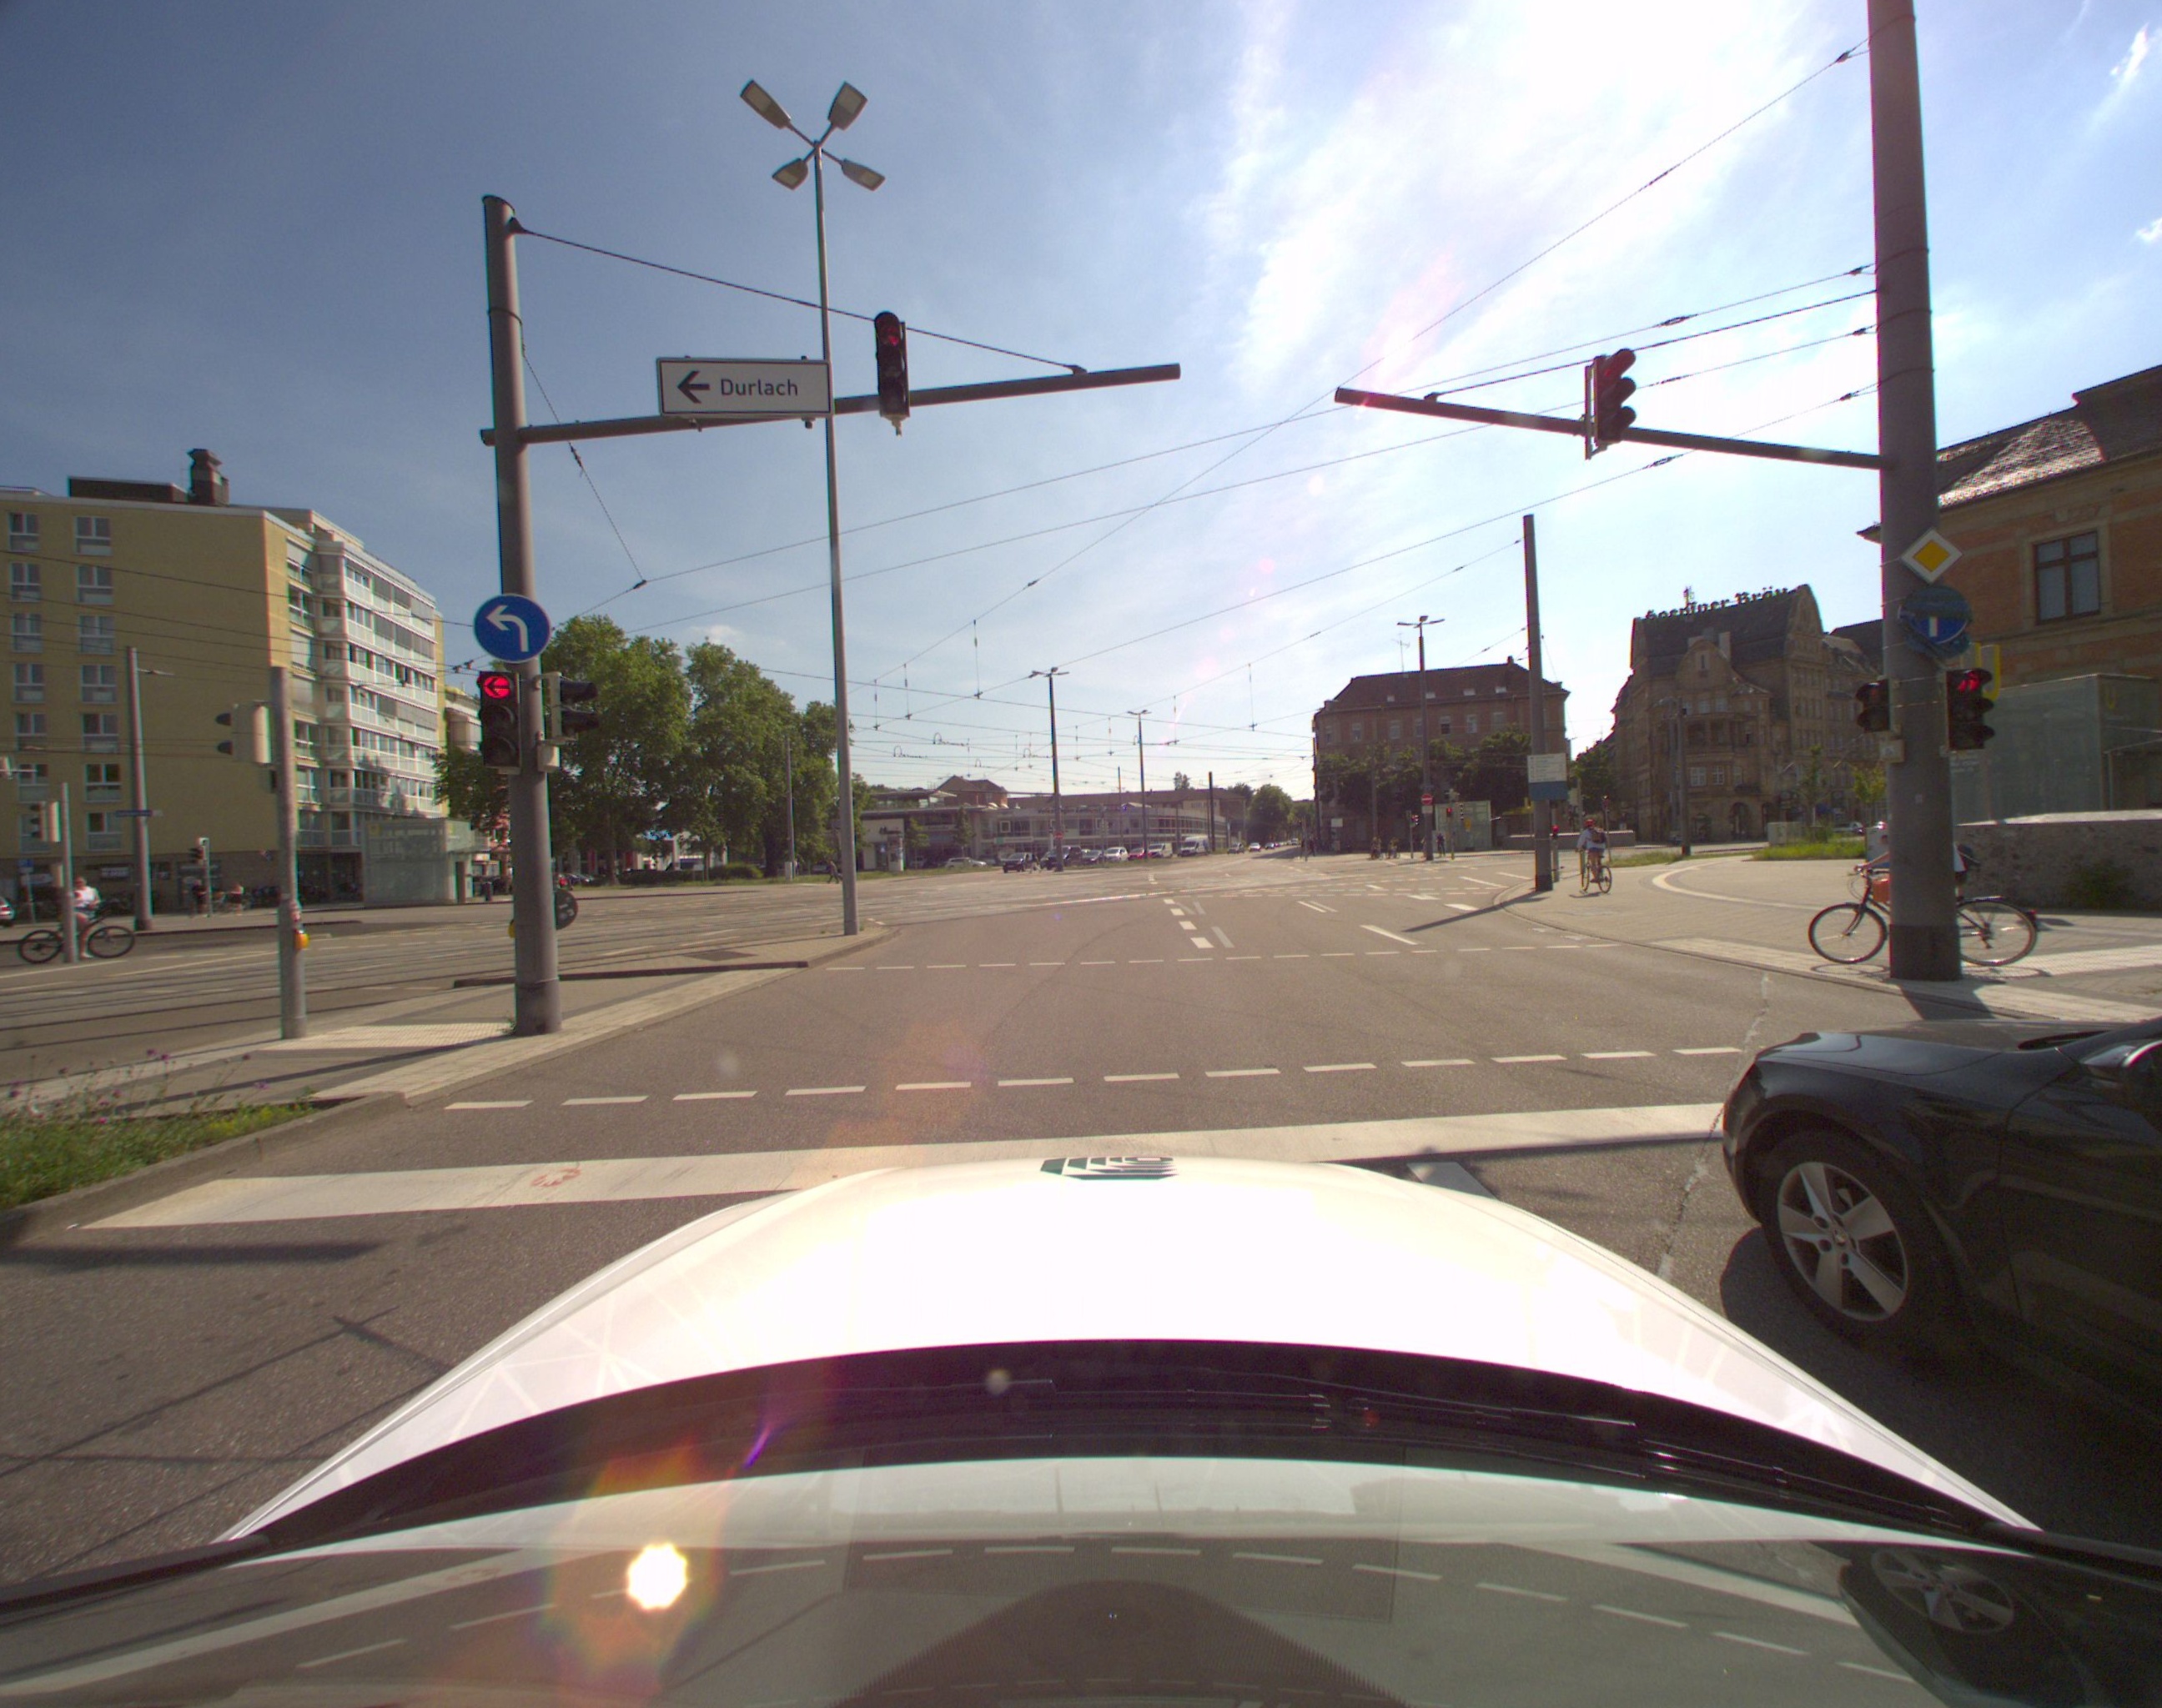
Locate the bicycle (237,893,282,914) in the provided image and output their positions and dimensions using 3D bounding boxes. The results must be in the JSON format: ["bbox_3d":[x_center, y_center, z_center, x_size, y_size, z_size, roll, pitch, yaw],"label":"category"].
[{"bbox_3d":[-46.810,2.798,46.414,1.750,1.043,0.582,-3,1,-9],"label":"bicycle"}]

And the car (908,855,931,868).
[{"bbox_3d":[-20.025,0.970,101.082,1.987,1.486,4.000,-2,0,0],"label":"car"}]

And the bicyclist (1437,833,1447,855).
[{"bbox_3d":[26.940,-0.760,60.747,0.661,1.624,0.787,-1,0,24],"label":"bicyclist"}]

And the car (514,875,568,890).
[{"bbox_3d":[-49.701,2.616,75.005,3.729,1.340,1.735,0,-1,-15],"label":"car"}]

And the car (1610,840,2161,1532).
[{"bbox_3d":[3.039,0.670,1.053,1.625,1.435,4.779,-1,-1,0],"label":"car"}]

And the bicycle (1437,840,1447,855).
[{"bbox_3d":[26.893,-0.474,60.630,0.661,1.069,2.478,-1,1,24],"label":"bicycle"}]

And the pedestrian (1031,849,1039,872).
[{"bbox_3d":[-3.173,0.451,56.100,0.456,1.605,0.396,0,-1,-34],"label":"pedestrian"}]

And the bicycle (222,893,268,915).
[{"bbox_3d":[-46.957,2.806,45.751,1.747,1.085,0.583,-3,3,-4],"label":"bicycle"}]

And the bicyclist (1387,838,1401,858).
[{"bbox_3d":[23.435,-0.479,60.992,0.918,1.451,1.258,-1,1,21],"label":"bicyclist"}]

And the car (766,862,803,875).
[{"bbox_3d":[-38.572,1.863,105.958,3.974,1.552,2.000,-2,0,0],"label":"car"}]

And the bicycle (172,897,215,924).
[{"bbox_3d":[-40.932,2.575,37.585,0.584,1.130,1.784,-3,-1,-21],"label":"bicycle"}]

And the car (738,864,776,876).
[{"bbox_3d":[-40.967,2.024,102.969,3.973,1.371,2.000,0,0,1],"label":"car"}]

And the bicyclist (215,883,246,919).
[{"bbox_3d":[-39.405,2.175,37.746,0.728,1.572,0.613,-3,-1,2],"label":"bicyclist"}]

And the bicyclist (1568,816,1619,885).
[{"bbox_3d":[13.100,-0.096,20.843,0.710,1.669,0.877,-5,-1,10],"label":"bicyclist"}]

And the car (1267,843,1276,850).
[{"bbox_3d":[40.234,-1.589,171.916,1.372,1.414,3.028,-1,-1,21],"label":"car"}]

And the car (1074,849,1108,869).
[{"bbox_3d":[0.885,0.451,70.925,1.880,1.588,4.017,-3,-1,16],"label":"car"}]

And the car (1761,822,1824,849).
[{"bbox_3d":[39.135,-1.037,44.773,3.464,1.313,1.655,-3,0,-32],"label":"car"}]

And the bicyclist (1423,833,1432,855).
[{"bbox_3d":[26.163,-0.762,61.534,0.497,1.621,0.651,0,0,7],"label":"bicyclist"}]

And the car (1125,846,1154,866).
[{"bbox_3d":[6.145,0.216,85.387,1.879,1.917,4.220,-3,-1,19],"label":"car"}]

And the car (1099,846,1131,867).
[{"bbox_3d":[3.282,0.275,78.553,1.879,1.917,4.220,-3,-1,19],"label":"car"}]

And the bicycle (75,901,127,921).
[{"bbox_3d":[-53.561,3.127,44.542,1.754,0.916,0.581,-3,1,-15],"label":"bicycle"}]

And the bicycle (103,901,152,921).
[{"bbox_3d":[-52.063,3.115,44.470,1.750,0.916,0.582,-3,1,-8],"label":"bicycle"}]

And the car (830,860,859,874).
[{"bbox_3d":[-29.623,1.621,102.145,1.983,1.684,4.008,0,-1,7],"label":"car"}]

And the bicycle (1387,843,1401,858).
[{"bbox_3d":[23.432,-0.284,60.972,0.918,1.069,2.856,-1,1,21],"label":"bicycle"}]

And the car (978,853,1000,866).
[{"bbox_3d":[-11.561,0.688,102.163,1.826,1.618,3.972,0,-1,-20],"label":"car"}]

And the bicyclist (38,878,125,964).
[{"bbox_3d":[-20.920,1.380,17.064,0.774,1.684,0.749,-4,0,-9],"label":"bicyclist"}]

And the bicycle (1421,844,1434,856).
[{"bbox_3d":[26.176,-0.303,61.544,0.497,0.866,1.590,0,0,7],"label":"bicycle"}]

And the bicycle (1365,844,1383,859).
[{"bbox_3d":[21.998,-0.198,61.202,0.920,1.069,2.755,-1,-1,12],"label":"bicycle"}]

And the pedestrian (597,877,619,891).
[{"bbox_3d":[-33.162,2.127,57.120,1.175,0.892,0.818,-2,0,-18],"label":"pedestrian"}]

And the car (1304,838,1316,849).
[{"bbox_3d":[46.362,-2.179,164.792,2.092,2.013,4.017,-2,0,16],"label":"car"}]

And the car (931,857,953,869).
[{"bbox_3d":[-17.252,1.101,100.984,1.987,1.486,4.000,0,0,0],"label":"car"}]

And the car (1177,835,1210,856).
[{"bbox_3d":[14.279,-1.020,102.739,2.188,2.575,5.910,-1,-1,28],"label":"car"}]

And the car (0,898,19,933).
[{"bbox_3d":[-49.269,2.837,36.523,3.948,1.440,1.825,-5,-2,35],"label":"car"}]

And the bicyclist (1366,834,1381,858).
[{"bbox_3d":[22.007,-0.582,61.236,0.920,1.820,1.056,-1,-1,11],"label":"bicyclist"}]

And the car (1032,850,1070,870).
[{"bbox_3d":[-2.570,0.518,71.044,1.879,1.588,4.019,-3,-1,19],"label":"car"}]

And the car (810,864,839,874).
[{"bbox_3d":[-31.984,1.855,101.805,1.983,1.244,4.008,0,0,7],"label":"car"}]

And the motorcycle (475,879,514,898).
[{"bbox_3d":[-35.745,2.128,49.672,2.019,1.062,0.642,-2,0,9],"label":"motorcycle"}]

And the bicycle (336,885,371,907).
[{"bbox_3d":[-44.387,2.549,49.700,0.581,1.219,1.754,-3,1,-5],"label":"bicycle"}]

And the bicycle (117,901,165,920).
[{"bbox_3d":[-51.986,3.119,45.033,1.750,0.916,0.582,-3,1,-8],"label":"bicycle"}]

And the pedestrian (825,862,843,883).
[{"bbox_3d":[-16.484,1.247,54.354,1.117,1.404,0.652,0,-1,-20],"label":"pedestrian"}]

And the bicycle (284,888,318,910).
[{"bbox_3d":[-46.285,2.670,48.323,0.540,1.186,1.881,-2,0,-13],"label":"bicycle"}]

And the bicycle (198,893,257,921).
[{"bbox_3d":[-39.391,2.421,37.630,0.749,1.130,1.798,-2,0,3],"label":"bicycle"}]

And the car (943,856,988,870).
[{"bbox_3d":[-12.600,0.972,88.995,4.553,1.436,1.449,-1,-1,12],"label":"car"}]

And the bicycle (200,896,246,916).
[{"bbox_3d":[-48.414,2.913,45.955,1.751,0.965,0.582,-3,1,-11],"label":"bicycle"}]

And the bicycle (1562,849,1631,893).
[{"bbox_3d":[13.149,0.410,20.846,0.710,1.015,2.026,-5,0,10],"label":"bicycle"}]

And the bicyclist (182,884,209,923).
[{"bbox_3d":[-40.786,2.264,37.516,0.584,1.735,0.613,-3,-1,-22],"label":"bicyclist"}]

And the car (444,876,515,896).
[{"bbox_3d":[-46.432,2.437,62.980,3.994,1.440,1.881,0,-1,-15],"label":"car"}]

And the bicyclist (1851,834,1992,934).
[{"bbox_3d":[9.323,0.336,9.080,0.904,1.029,0.721,-5,-1,35],"label":"bicyclist"}]

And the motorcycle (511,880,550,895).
[{"bbox_3d":[-36.861,2.228,54.583,0.632,0.842,2.051,-2,0,35],"label":"motorcycle"}]

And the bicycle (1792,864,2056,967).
[{"bbox_3d":[9.292,0.699,9.110,1.894,1.015,0.721,-5,-1,35],"label":"bicycle"}]

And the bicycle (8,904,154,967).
[{"bbox_3d":[-20.920,1.691,17.070,1.843,1.083,0.749,-4,0,-9],"label":"bicycle"}]

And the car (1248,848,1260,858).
[{"bbox_3d":[29.072,-0.143,136.896,1.372,1.625,3.358,-2,0,23],"label":"car"}]

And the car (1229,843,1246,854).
[{"bbox_3d":[23.255,-0.785,120.802,1.371,1.656,3.783,-1,-1,30],"label":"car"}]

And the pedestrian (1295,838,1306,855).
[{"bbox_3d":[19.059,-0.621,70.667,0.616,1.433,0.705,0,-1,-36],"label":"pedestrian"}]

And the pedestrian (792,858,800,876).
[{"bbox_3d":[-25.245,1.171,72.134,0.388,1.596,0.467,-1,-1,25],"label":"pedestrian"}]

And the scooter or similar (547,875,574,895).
[{"bbox_3d":[-32.095,1.911,50.231,1.351,1.119,0.519,-2,0,11],"label":"scooter or similar"}]

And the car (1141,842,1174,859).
[{"bbox_3d":[8.719,-0.420,92.716,2.165,1.680,5.058,-3,0,24],"label":"car"}]

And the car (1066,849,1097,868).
[{"bbox_3d":[0.086,0.443,78.308,1.638,1.739,4.220,-3,-1,19],"label":"car"}]

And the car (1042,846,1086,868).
[{"bbox_3d":[-1.288,0.200,64.812,1.945,1.587,4.739,-2,0,19],"label":"car"}]

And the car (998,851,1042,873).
[{"bbox_3d":[-4.756,0.649,64.280,1.876,1.588,4.230,-3,-1,19],"label":"car"}]
